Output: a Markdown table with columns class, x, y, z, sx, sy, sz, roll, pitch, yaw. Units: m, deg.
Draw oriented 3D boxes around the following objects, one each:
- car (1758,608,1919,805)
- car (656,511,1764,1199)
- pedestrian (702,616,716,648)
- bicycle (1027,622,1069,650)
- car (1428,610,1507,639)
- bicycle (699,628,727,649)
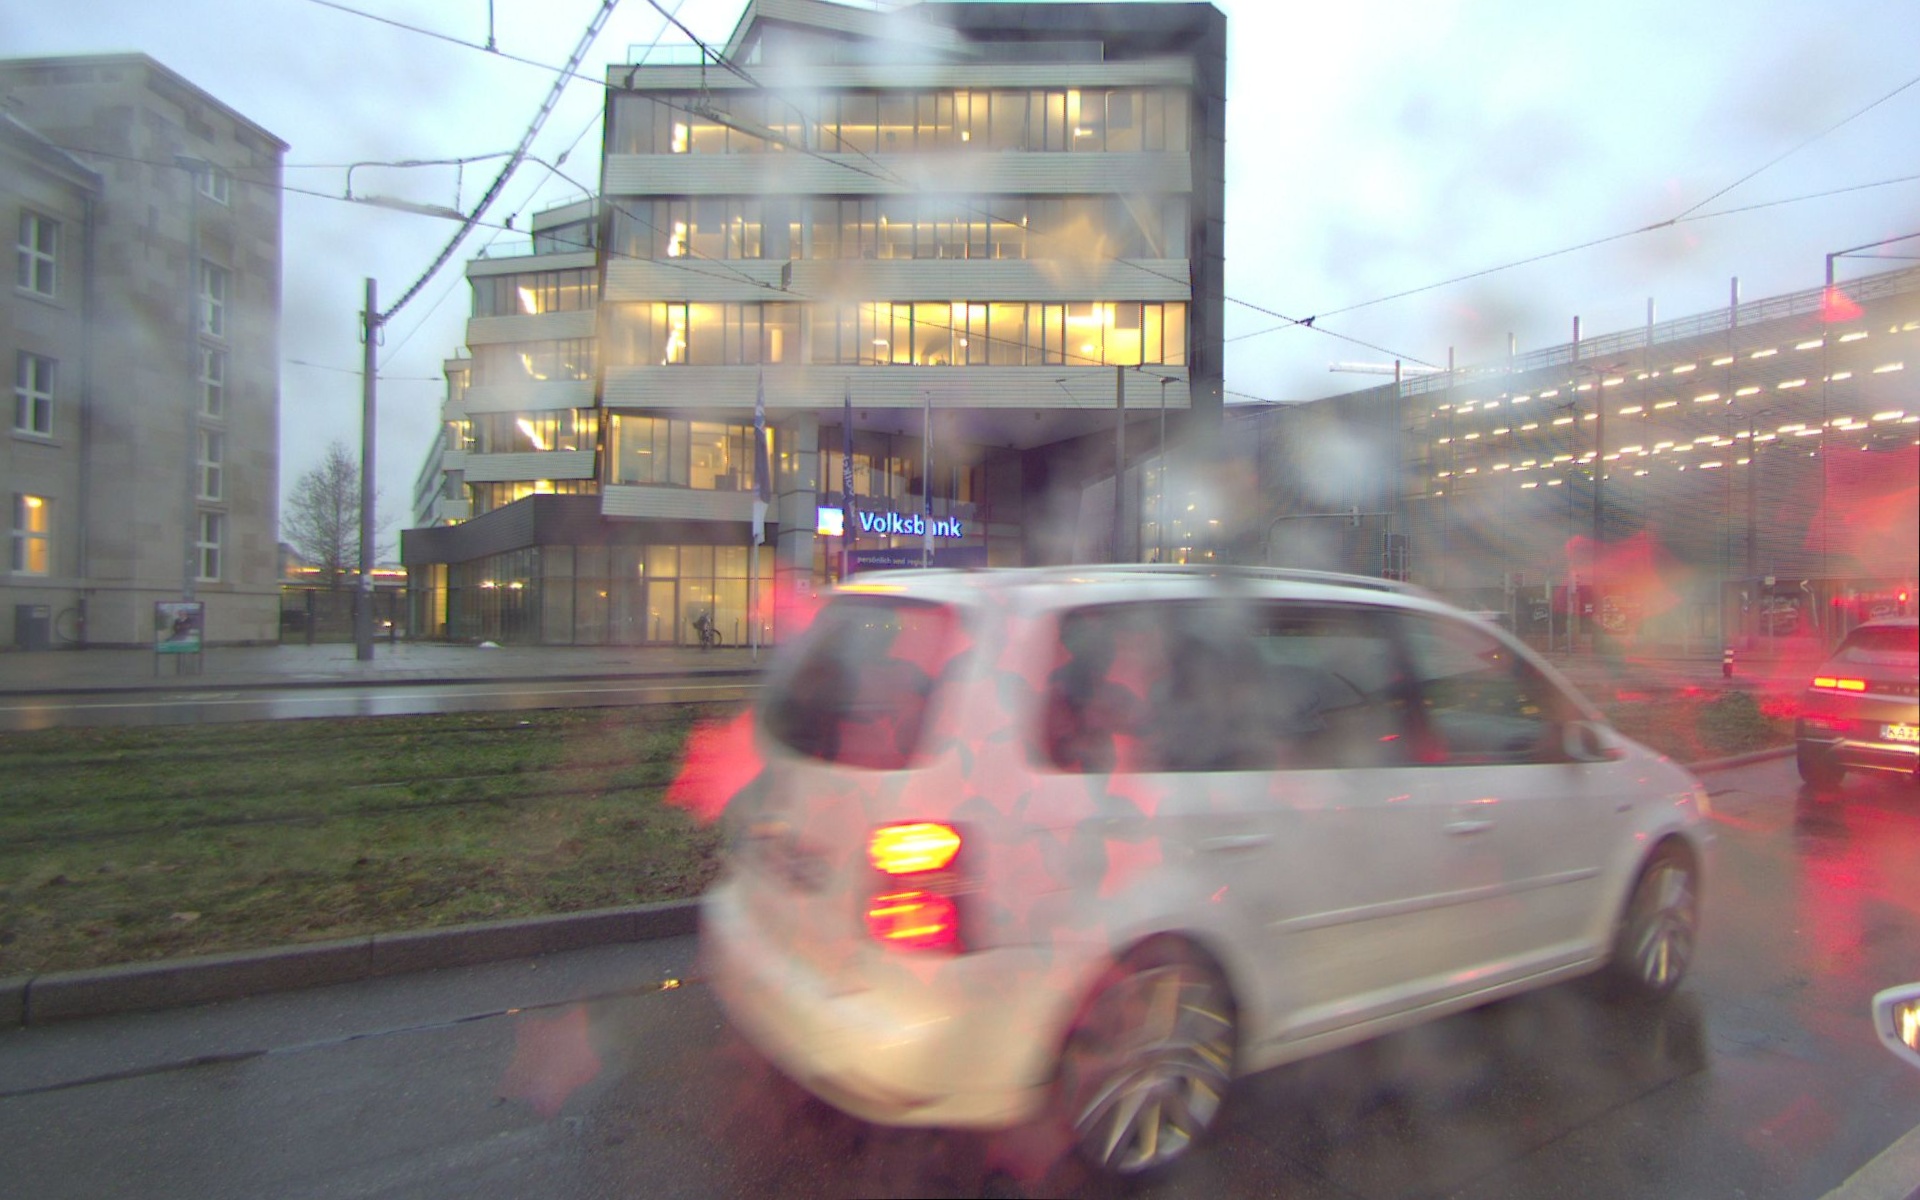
| class | x | y | z | sx | sy | sz | roll | pitch | yaw |
| --- | --- | --- | --- | --- | --- | --- | --- | --- | --- |
| car | 9.304 | 0.909 | 9.447 | 3.959 | 1.595 | 1.742 | 1 | -1 | -34 |
| car | 1.125 | 0.660 | 3.825 | 4.100 | 1.682 | 1.661 | 1 | 1 | -31 |
| pedestrian | -8.575 | 1.084 | 34.311 | 0.380 | 1.103 | 0.325 | 0 | -1 | 5 |
| bicycle | 3.528 | 1.443 | 40.110 | 1.588 | 1.105 | 0.553 | 1 | -1 | -23 |
| car | 36.258 | 1.727 | 71.891 | 1.782 | 2.027 | 4.806 | 1 | -1 | -36 |
| bicycle | -8.616 | 1.351 | 35.067 | 0.896 | 0.724 | 0.483 | 1 | -1 | -10 |
